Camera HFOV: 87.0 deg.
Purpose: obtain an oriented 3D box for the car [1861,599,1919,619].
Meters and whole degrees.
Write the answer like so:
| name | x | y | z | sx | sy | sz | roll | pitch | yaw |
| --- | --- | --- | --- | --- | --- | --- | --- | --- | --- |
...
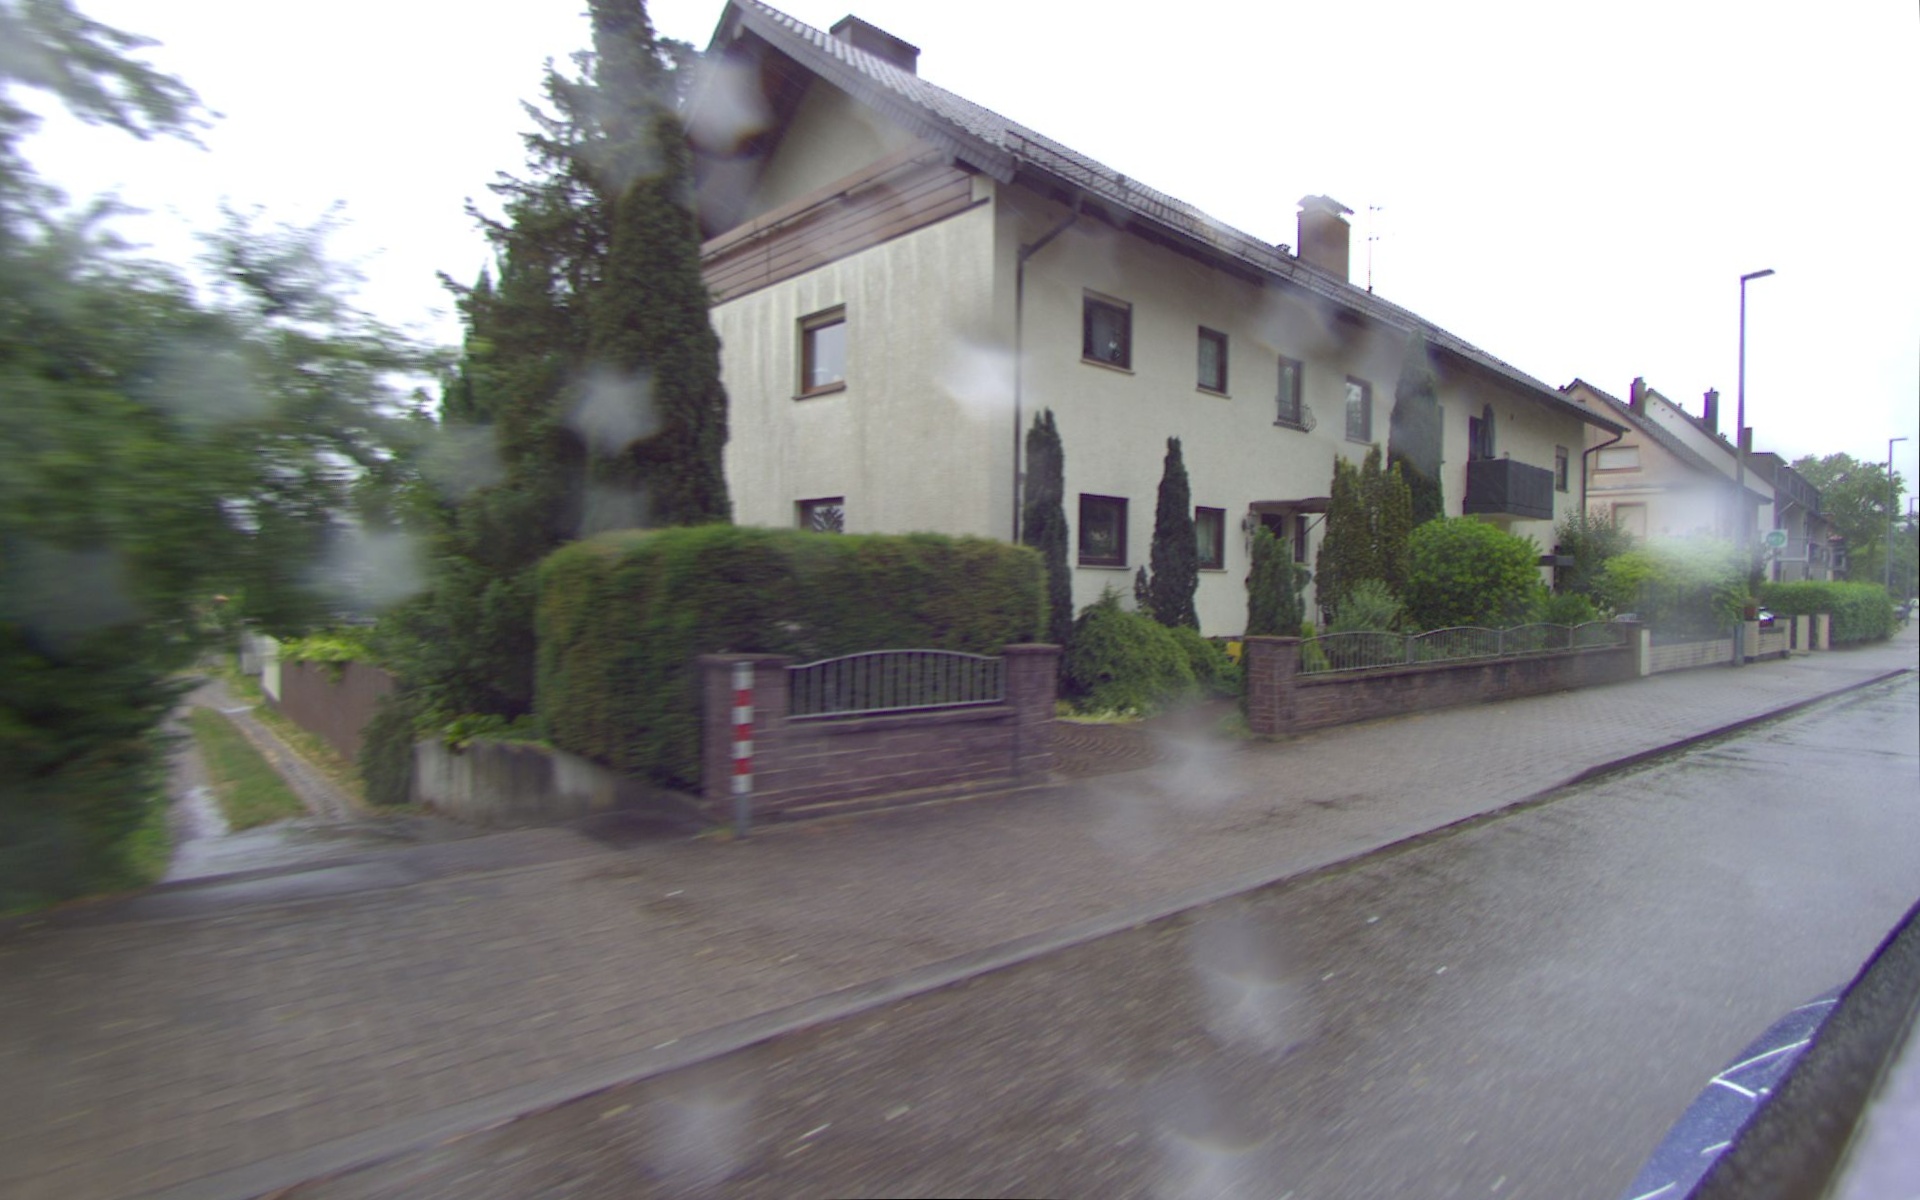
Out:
| name | x | y | z | sx | sy | sz | roll | pitch | yaw |
| --- | --- | --- | --- | --- | --- | --- | --- | --- | --- |
| car | 72.189 | 0.666 | 77.536 | 1.879 | 1.381 | 4.392 | -1 | 1 | -13 |

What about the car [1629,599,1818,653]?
| name | x | y | z | sx | sy | sz | roll | pitch | yaw |
| --- | --- | --- | --- | --- | --- | --- | --- | --- | --- |
| car | 22.308 | 0.721 | 29.685 | 1.674 | 1.464 | 4.225 | 1 | -1 | -43 |
